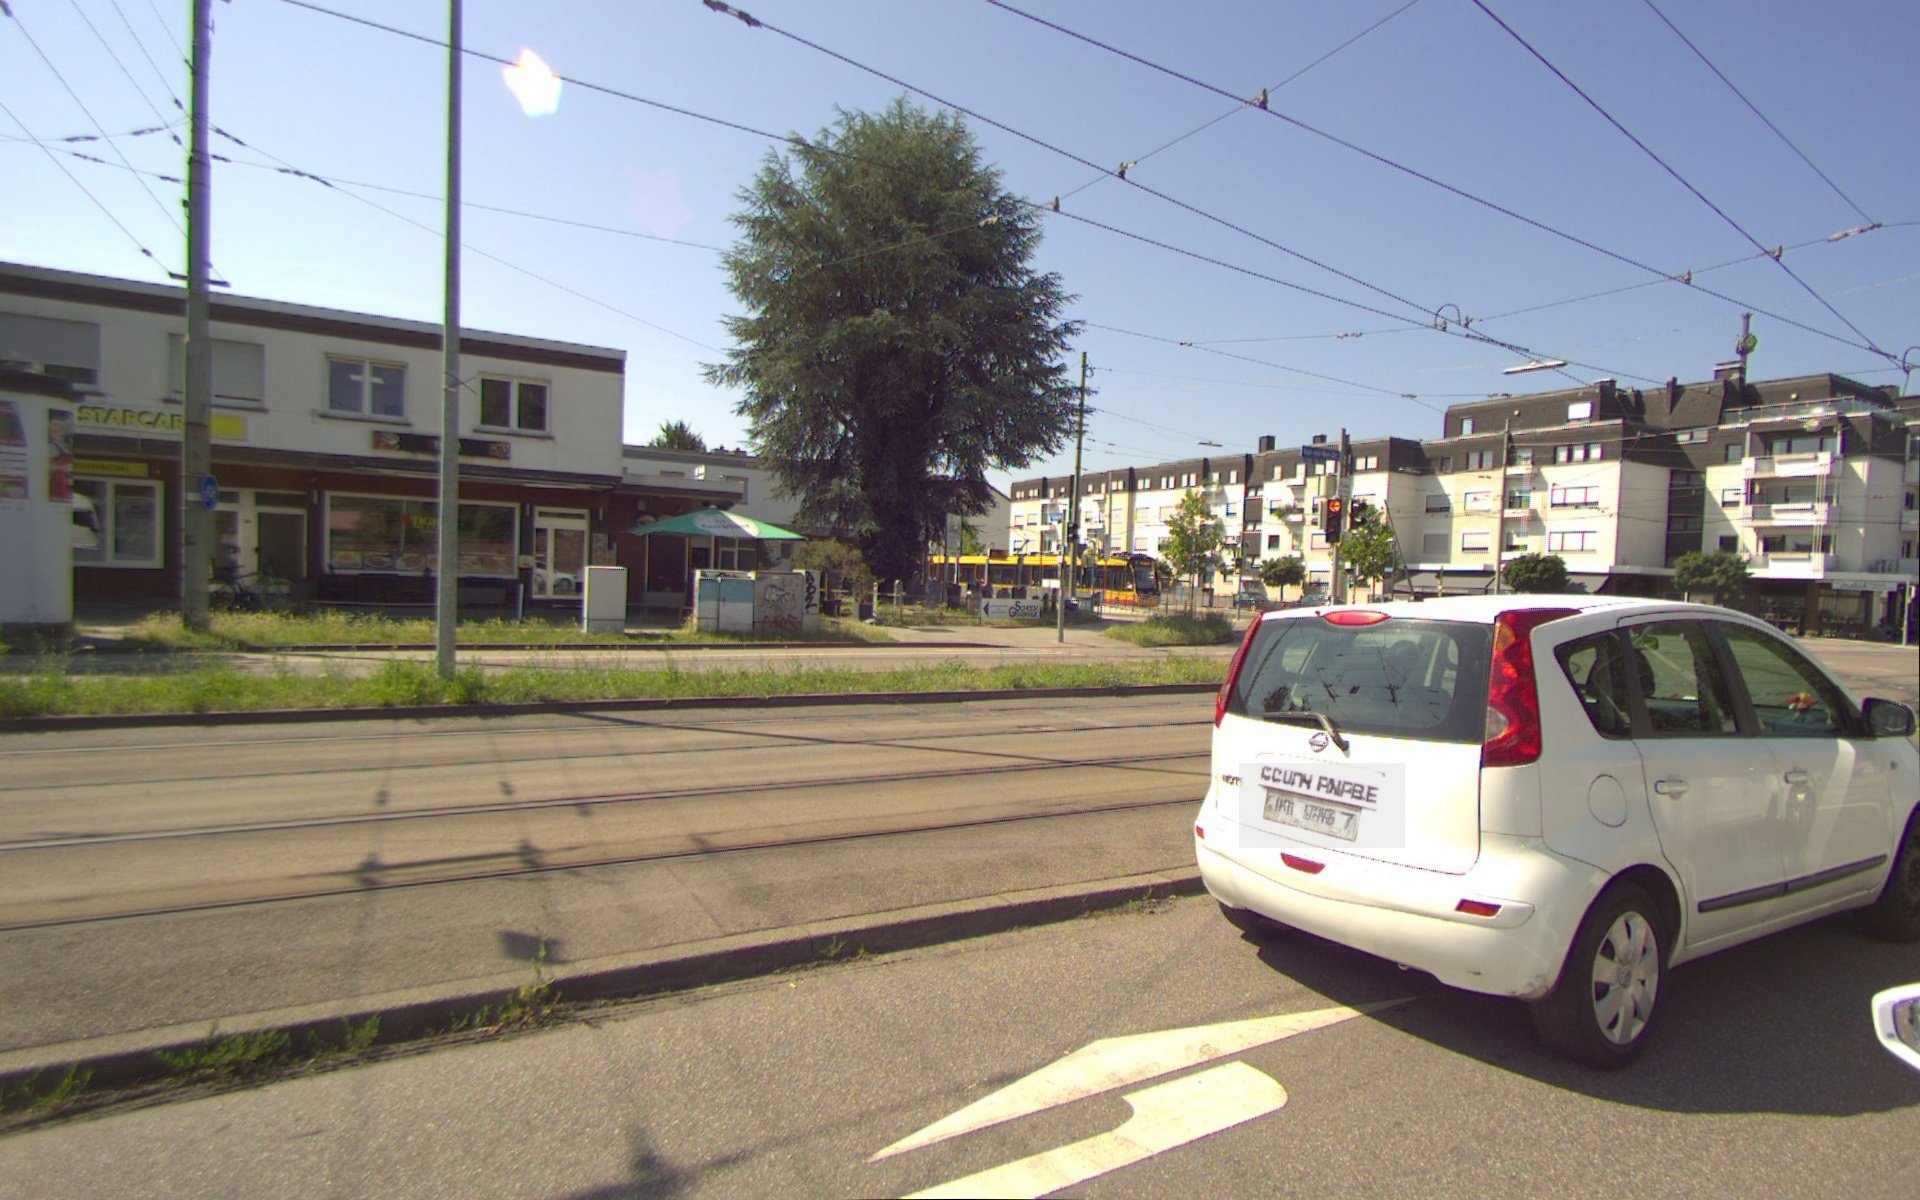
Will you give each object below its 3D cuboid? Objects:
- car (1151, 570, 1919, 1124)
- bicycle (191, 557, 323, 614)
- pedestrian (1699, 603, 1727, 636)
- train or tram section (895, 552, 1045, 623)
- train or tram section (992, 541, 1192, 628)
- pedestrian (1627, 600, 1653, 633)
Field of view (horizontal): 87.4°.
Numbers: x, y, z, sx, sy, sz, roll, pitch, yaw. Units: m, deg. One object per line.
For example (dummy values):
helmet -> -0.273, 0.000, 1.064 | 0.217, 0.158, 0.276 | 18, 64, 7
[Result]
car -> 2.843, 0.716, 4.547 | 3.759, 1.587, 1.634 | 0, 0, -31
bicycle -> -15.517, -0.299, 22.268 | 2.306, 1.167, 0.783 | 2, -1, -30
pedestrian -> 41.741, 1.077, 55.697 | 0.955, 1.766, 0.865 | 2, -1, 13
train or tram section -> 0.374, -0.947, 83.285 | 4.681, 5.217, 16.121 | 2, -1, -30
train or tram section -> 8.530, -0.913, 69.384 | 4.681, 5.217, 16.121 | 2, -1, -30
pedestrian -> 37.616, 0.934, 55.585 | 0.956, 1.766, 0.864 | 2, -1, 20
